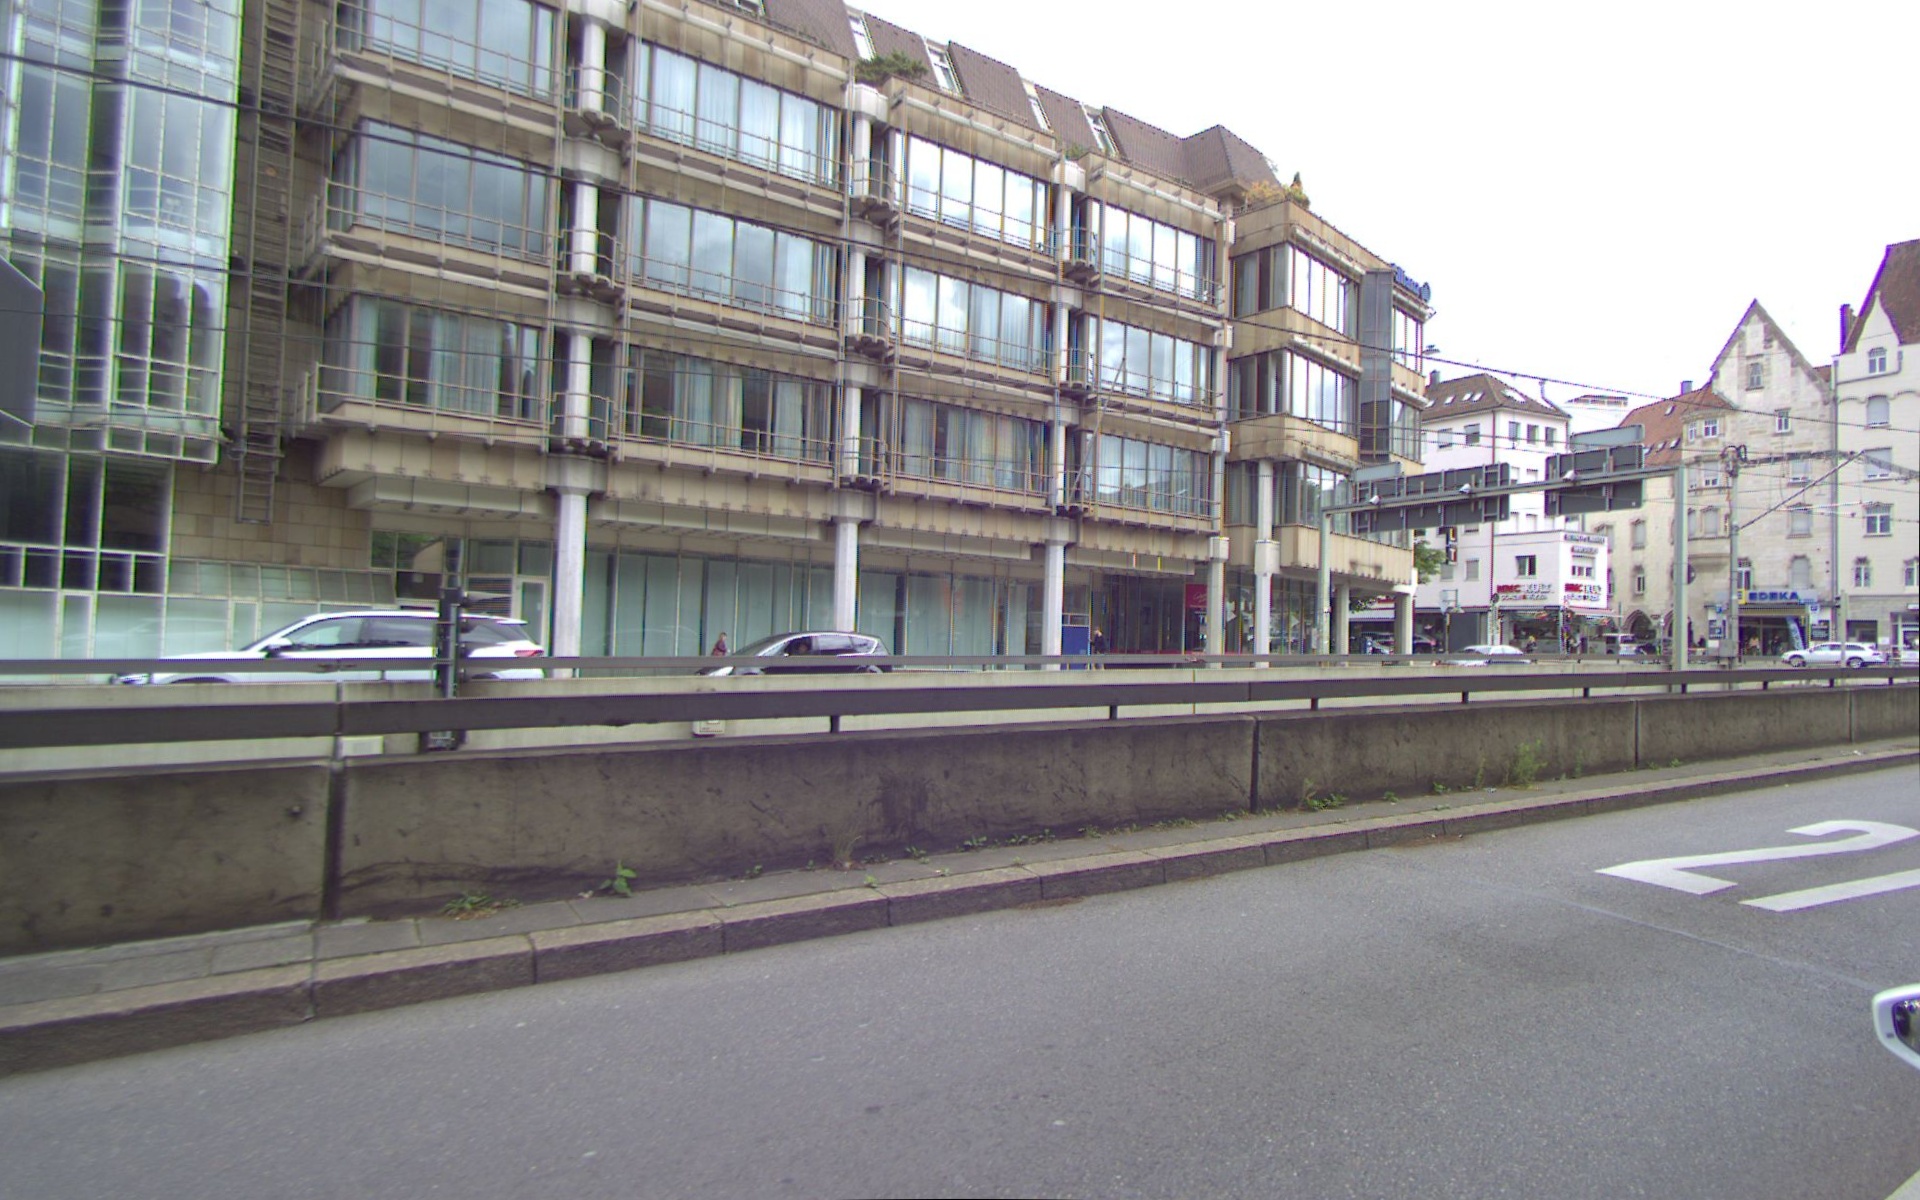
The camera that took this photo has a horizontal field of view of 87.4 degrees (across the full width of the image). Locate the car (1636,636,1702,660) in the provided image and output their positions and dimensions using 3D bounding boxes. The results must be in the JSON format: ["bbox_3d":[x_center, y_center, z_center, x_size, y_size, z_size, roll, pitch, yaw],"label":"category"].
[{"bbox_3d":[50.781,3.475,72.031,1.608,1.706,3.777,1,-3,-10],"label":"car"}]

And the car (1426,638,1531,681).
[{"bbox_3d":[19.457,2.208,37.672,3.995,1.521,1.656,2,-2,-30],"label":"car"}]

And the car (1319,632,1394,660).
[{"bbox_3d":[24.694,2.857,62.634,1.935,1.550,3.953,2,-1,-40],"label":"car"}]

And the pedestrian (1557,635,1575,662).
[{"bbox_3d":[39.512,3.163,65.478,0.643,1.728,0.781,1,-1,-19],"label":"pedestrian"}]

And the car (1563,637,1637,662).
[{"bbox_3d":[45.705,3.543,71.847,1.726,1.581,4.499,2,-1,-16],"label":"car"}]

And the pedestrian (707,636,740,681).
[{"bbox_3d":[-6.978,1.715,29.591,0.731,1.282,0.727,2,-1,-30],"label":"pedestrian"}]

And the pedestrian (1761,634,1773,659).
[{"bbox_3d":[58.210,3.355,72.481,0.507,1.803,0.570,2,-1,-39],"label":"pedestrian"}]

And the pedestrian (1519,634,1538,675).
[{"bbox_3d":[25.077,2.407,44.292,0.569,1.803,0.509,1,-1,-23],"label":"pedestrian"}]

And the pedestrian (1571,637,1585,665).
[{"bbox_3d":[40.249,3.288,65.385,0.567,1.803,0.510,1,-1,-13],"label":"pedestrian"}]

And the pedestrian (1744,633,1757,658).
[{"bbox_3d":[56.646,3.262,71.951,0.565,1.803,0.512,1,-1,15],"label":"pedestrian"}]

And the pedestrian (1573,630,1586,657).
[{"bbox_3d":[41.556,2.909,67.364,0.588,1.803,0.510,1,-1,-13],"label":"pedestrian"}]

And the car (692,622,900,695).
[{"bbox_3d":[-3.669,1.298,22.713,4.361,1.521,1.656,2,-2,-30],"label":"car"}]

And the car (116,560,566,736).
[{"bbox_3d":[-7.661,0.560,12.840,4.558,1.867,1.822,2,2,-34],"label":"car"}]

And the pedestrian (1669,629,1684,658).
[{"bbox_3d":[45.114,2.720,63.250,0.501,1.803,0.577,1,-1,1],"label":"pedestrian"}]

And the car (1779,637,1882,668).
[{"bbox_3d":[51.305,3.062,59.252,1.743,1.581,4.455,2,-1,-44],"label":"car"}]

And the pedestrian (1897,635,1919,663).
[{"bbox_3d":[59.495,3.063,63.028,0.643,1.728,0.781,1,-1,-19],"label":"pedestrian"}]

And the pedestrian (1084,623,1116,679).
[{"bbox_3d":[4.625,1.682,33.243,0.731,1.835,0.727,2,-1,-30],"label":"pedestrian"}]

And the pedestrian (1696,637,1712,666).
[{"bbox_3d":[45.488,3.141,61.405,0.567,1.803,0.510,1,-1,-13],"label":"pedestrian"}]
